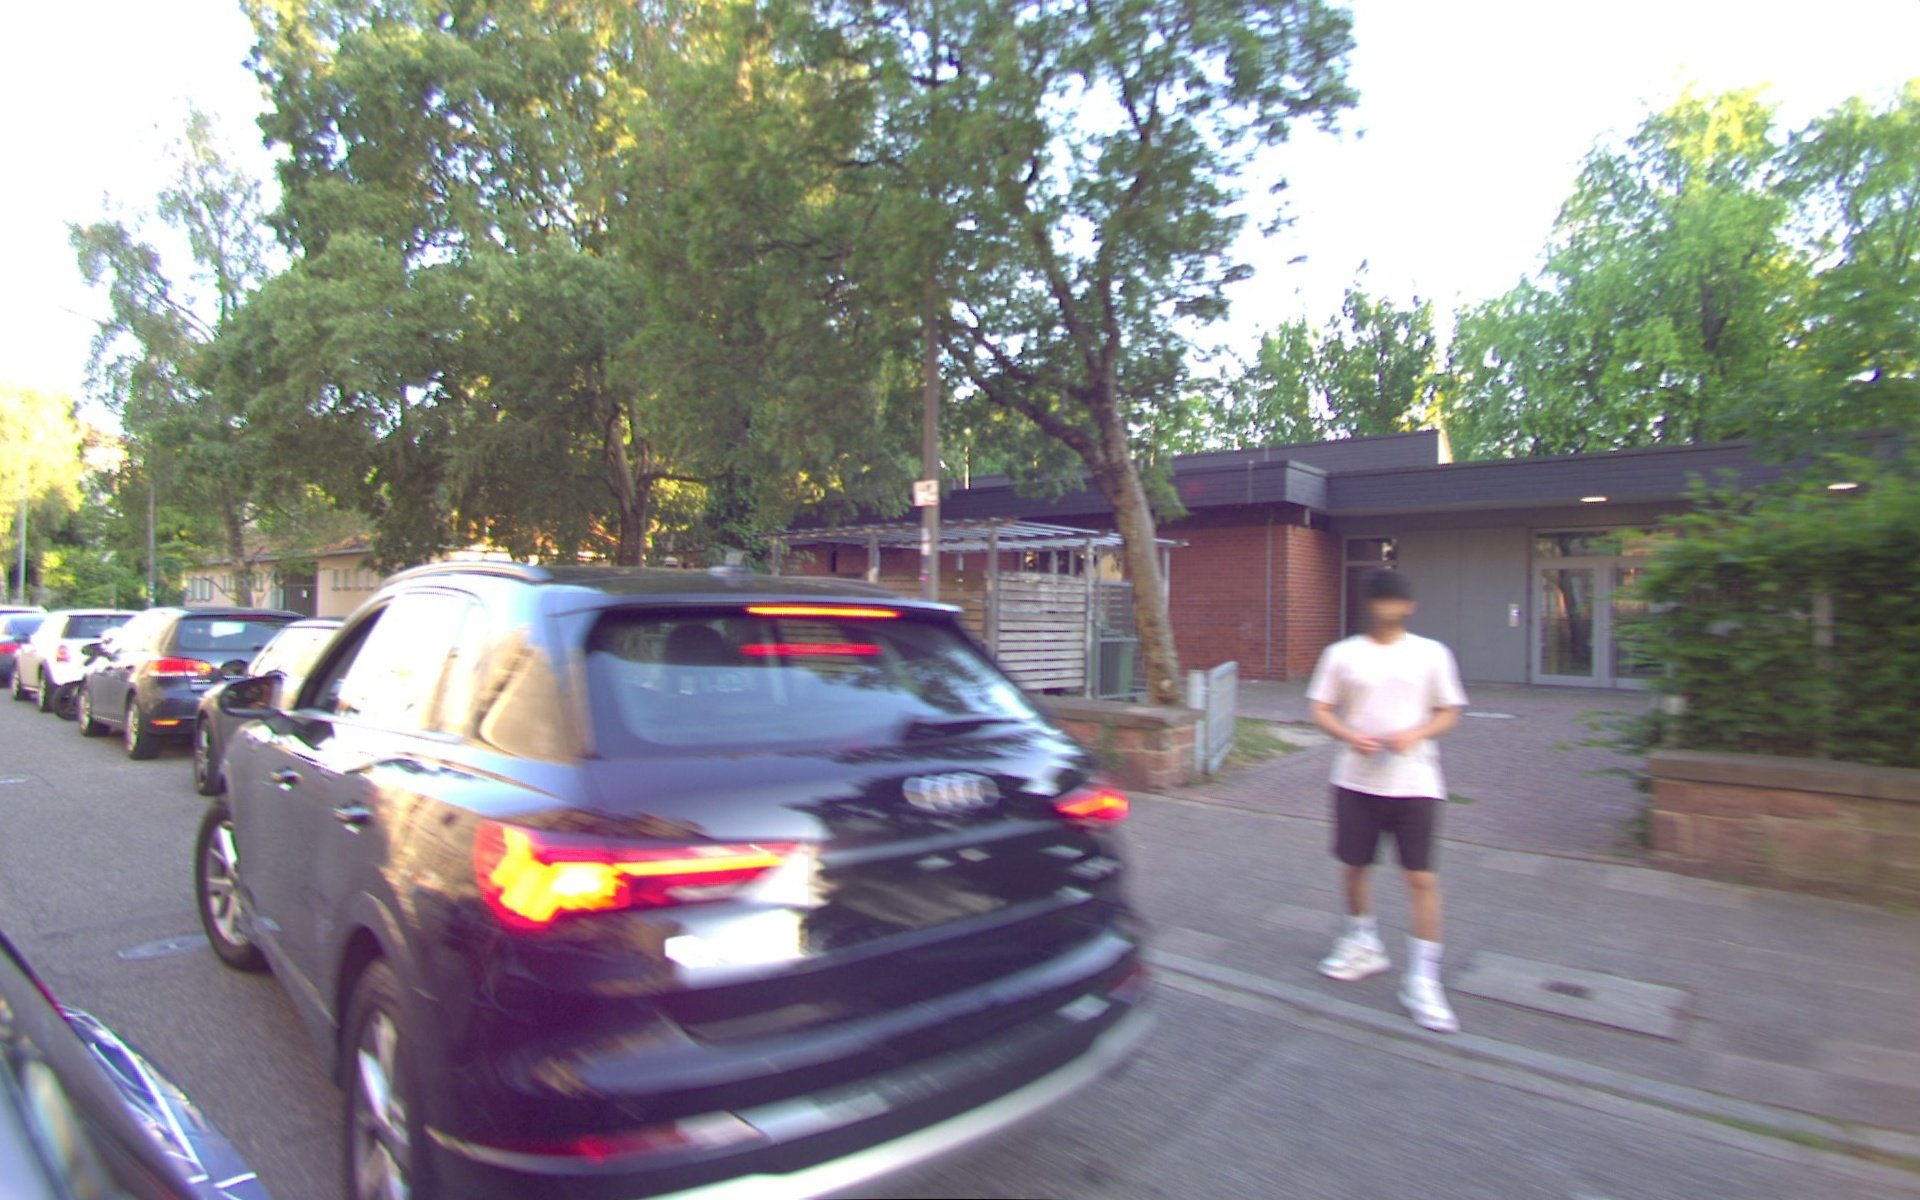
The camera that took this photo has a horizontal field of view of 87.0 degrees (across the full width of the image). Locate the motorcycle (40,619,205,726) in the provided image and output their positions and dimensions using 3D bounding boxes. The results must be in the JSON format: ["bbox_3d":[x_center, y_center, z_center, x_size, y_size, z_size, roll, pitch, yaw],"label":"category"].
[{"bbox_3d":[-10.890,0.898,13.187,0.785,1.268,1.575,0,0,43],"label":"motorcycle"}]

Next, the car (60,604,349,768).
[{"bbox_3d":[-8.261,0.802,10.950,3.803,1.457,1.715,0,-2,41],"label":"car"}]

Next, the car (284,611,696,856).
[{"bbox_3d":[-3.717,0.837,7.782,3.414,1.436,1.602,0,-2,41],"label":"car"}]

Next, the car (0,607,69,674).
[{"bbox_3d":[-21.192,0.855,22.336,3.802,1.377,1.716,0,-2,40],"label":"car"}]

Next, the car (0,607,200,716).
[{"bbox_3d":[-13.088,0.850,15.292,3.802,1.436,1.716,0,-2,40],"label":"car"}]

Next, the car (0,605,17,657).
[{"bbox_3d":[-27.543,0.815,27.899,4.288,1.377,1.716,0,-2,40],"label":"car"}]

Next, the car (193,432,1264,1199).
[{"bbox_3d":[-1.282,0.652,3.402,1.712,1.644,4.131,3,-2,-41],"label":"car"}]

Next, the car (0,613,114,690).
[{"bbox_3d":[-17.383,0.916,18.943,3.802,1.297,1.716,0,-2,40],"label":"car"}]

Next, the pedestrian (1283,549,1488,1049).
[{"bbox_3d":[1.660,0.670,3.917,0.557,1.715,0.739,0,2,37],"label":"pedestrian"}]
